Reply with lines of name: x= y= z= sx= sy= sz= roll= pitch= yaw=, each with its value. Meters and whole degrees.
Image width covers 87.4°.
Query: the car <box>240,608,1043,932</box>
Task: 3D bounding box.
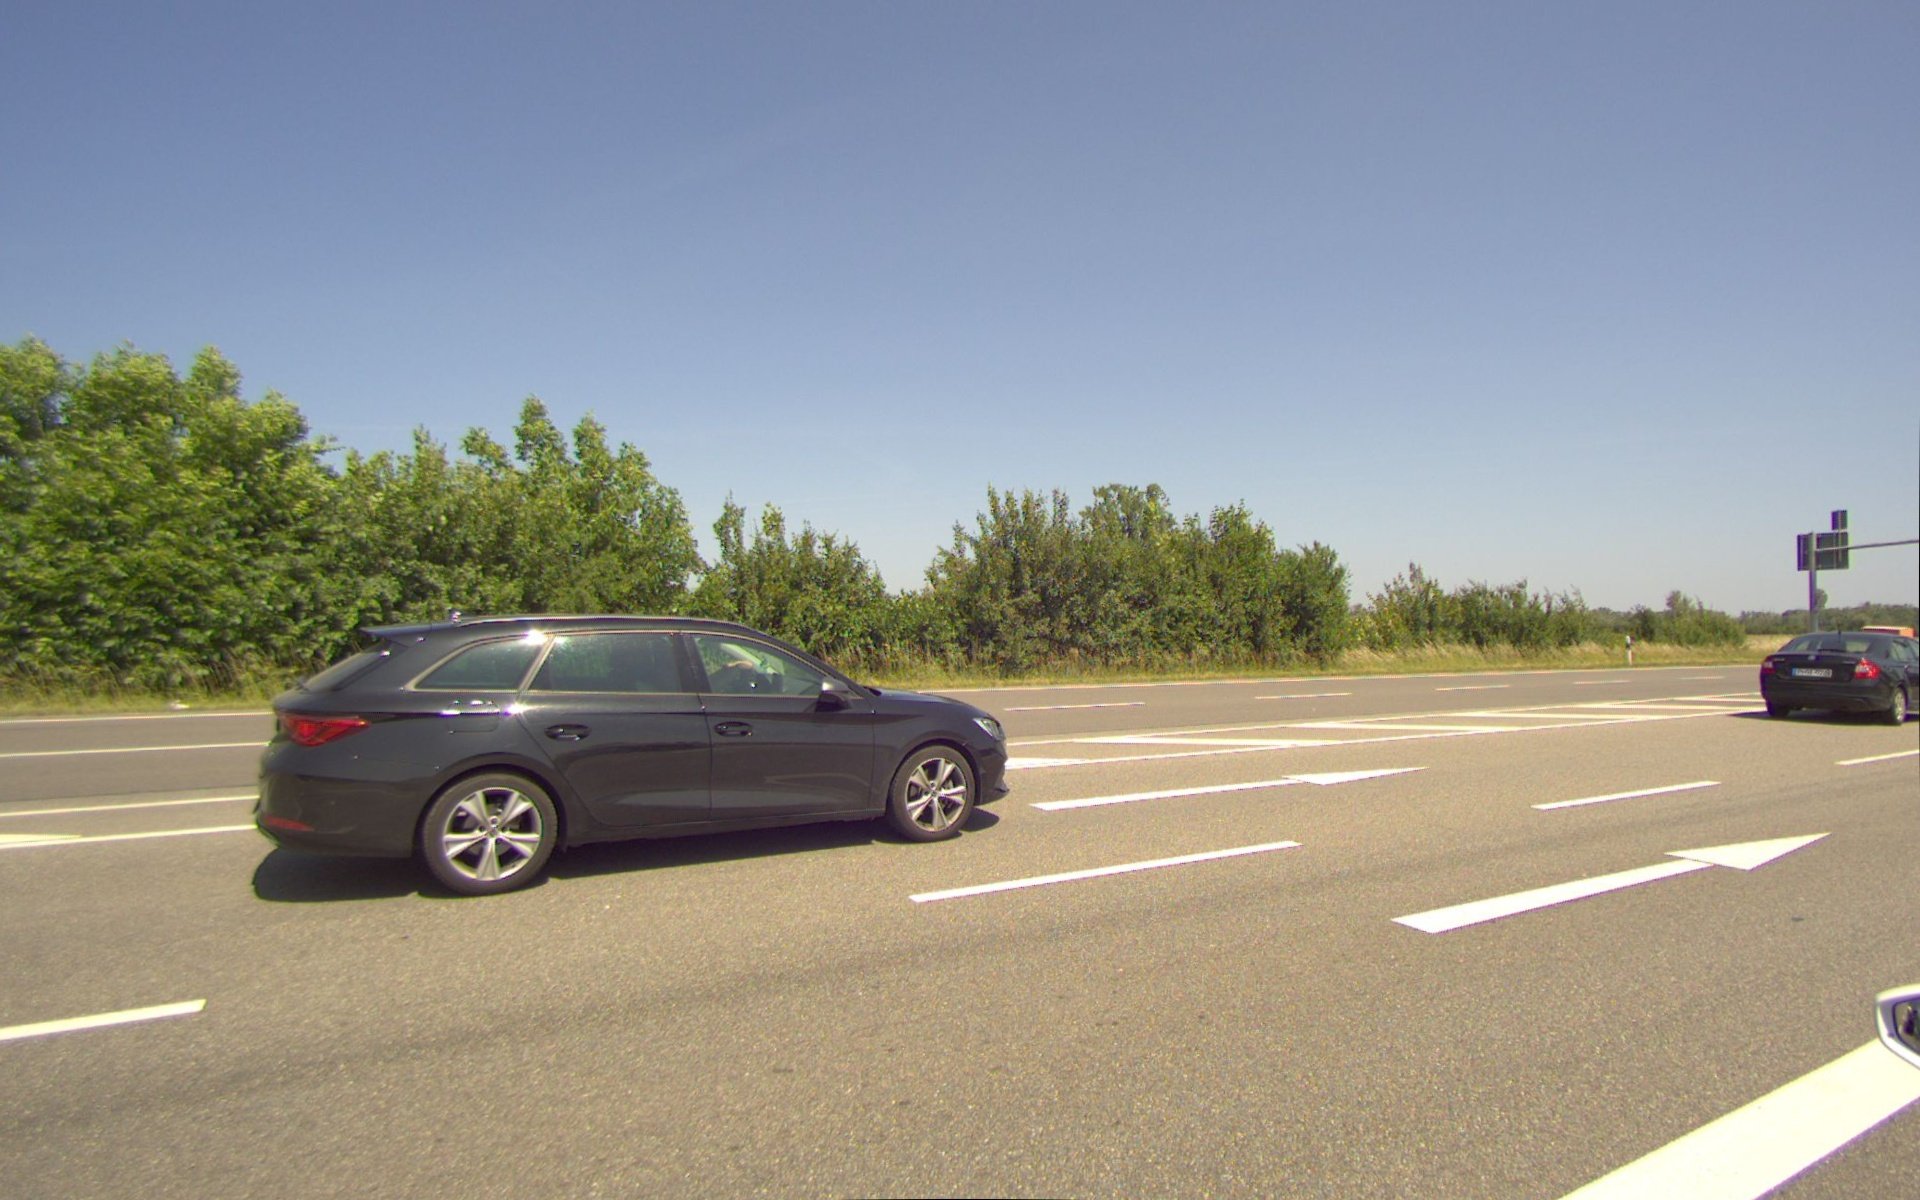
car: x=-1.823 y=0.822 z=6.547 sx=4.474 sy=1.466 sz=1.879 roll=1 pitch=-1 yaw=-31

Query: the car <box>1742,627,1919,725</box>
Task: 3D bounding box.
car: x=15.168 y=1.223 z=16.958 sx=4.417 sy=1.430 sz=1.666 roll=2 pitch=-1 yaw=-32
